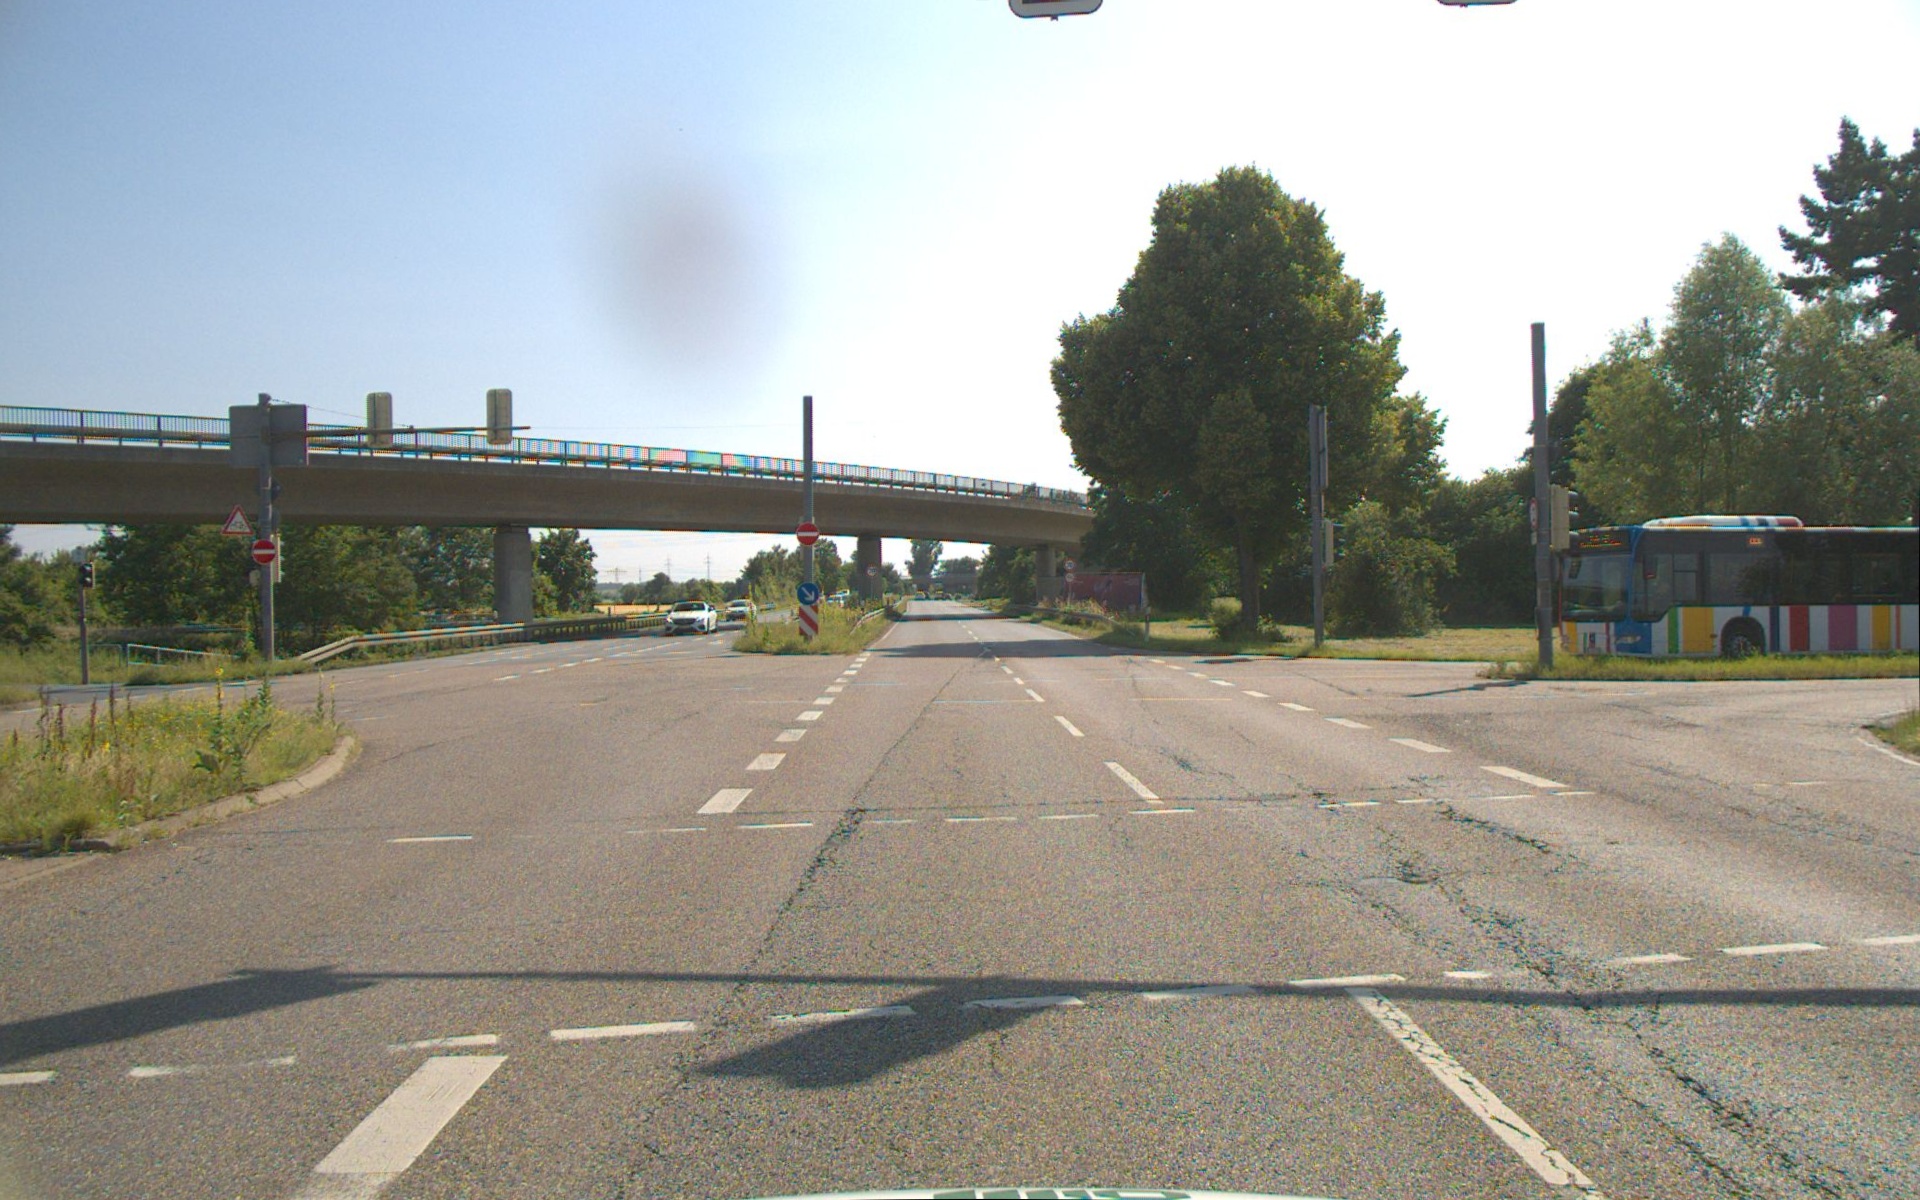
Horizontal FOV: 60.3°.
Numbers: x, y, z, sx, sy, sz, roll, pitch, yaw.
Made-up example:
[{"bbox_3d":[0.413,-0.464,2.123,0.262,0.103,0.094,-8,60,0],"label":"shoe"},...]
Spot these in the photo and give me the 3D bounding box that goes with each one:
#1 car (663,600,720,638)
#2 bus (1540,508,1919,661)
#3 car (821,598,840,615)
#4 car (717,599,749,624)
[{"bbox_3d":[-11.621,0.790,71.835,1.819,1.473,4.239,-3,0,-2],"label":"car"},{"bbox_3d":[18.446,-0.422,35.593,11.745,2.927,2.929,-2,0,-16],"label":"bus"},{"bbox_3d":[-12.952,0.650,165.501,1.525,1.567,3.999,-2,0,-1],"label":"car"},{"bbox_3d":[-15.819,0.815,115.539,1.754,1.656,3.998,-2,0,-2],"label":"car"}]
